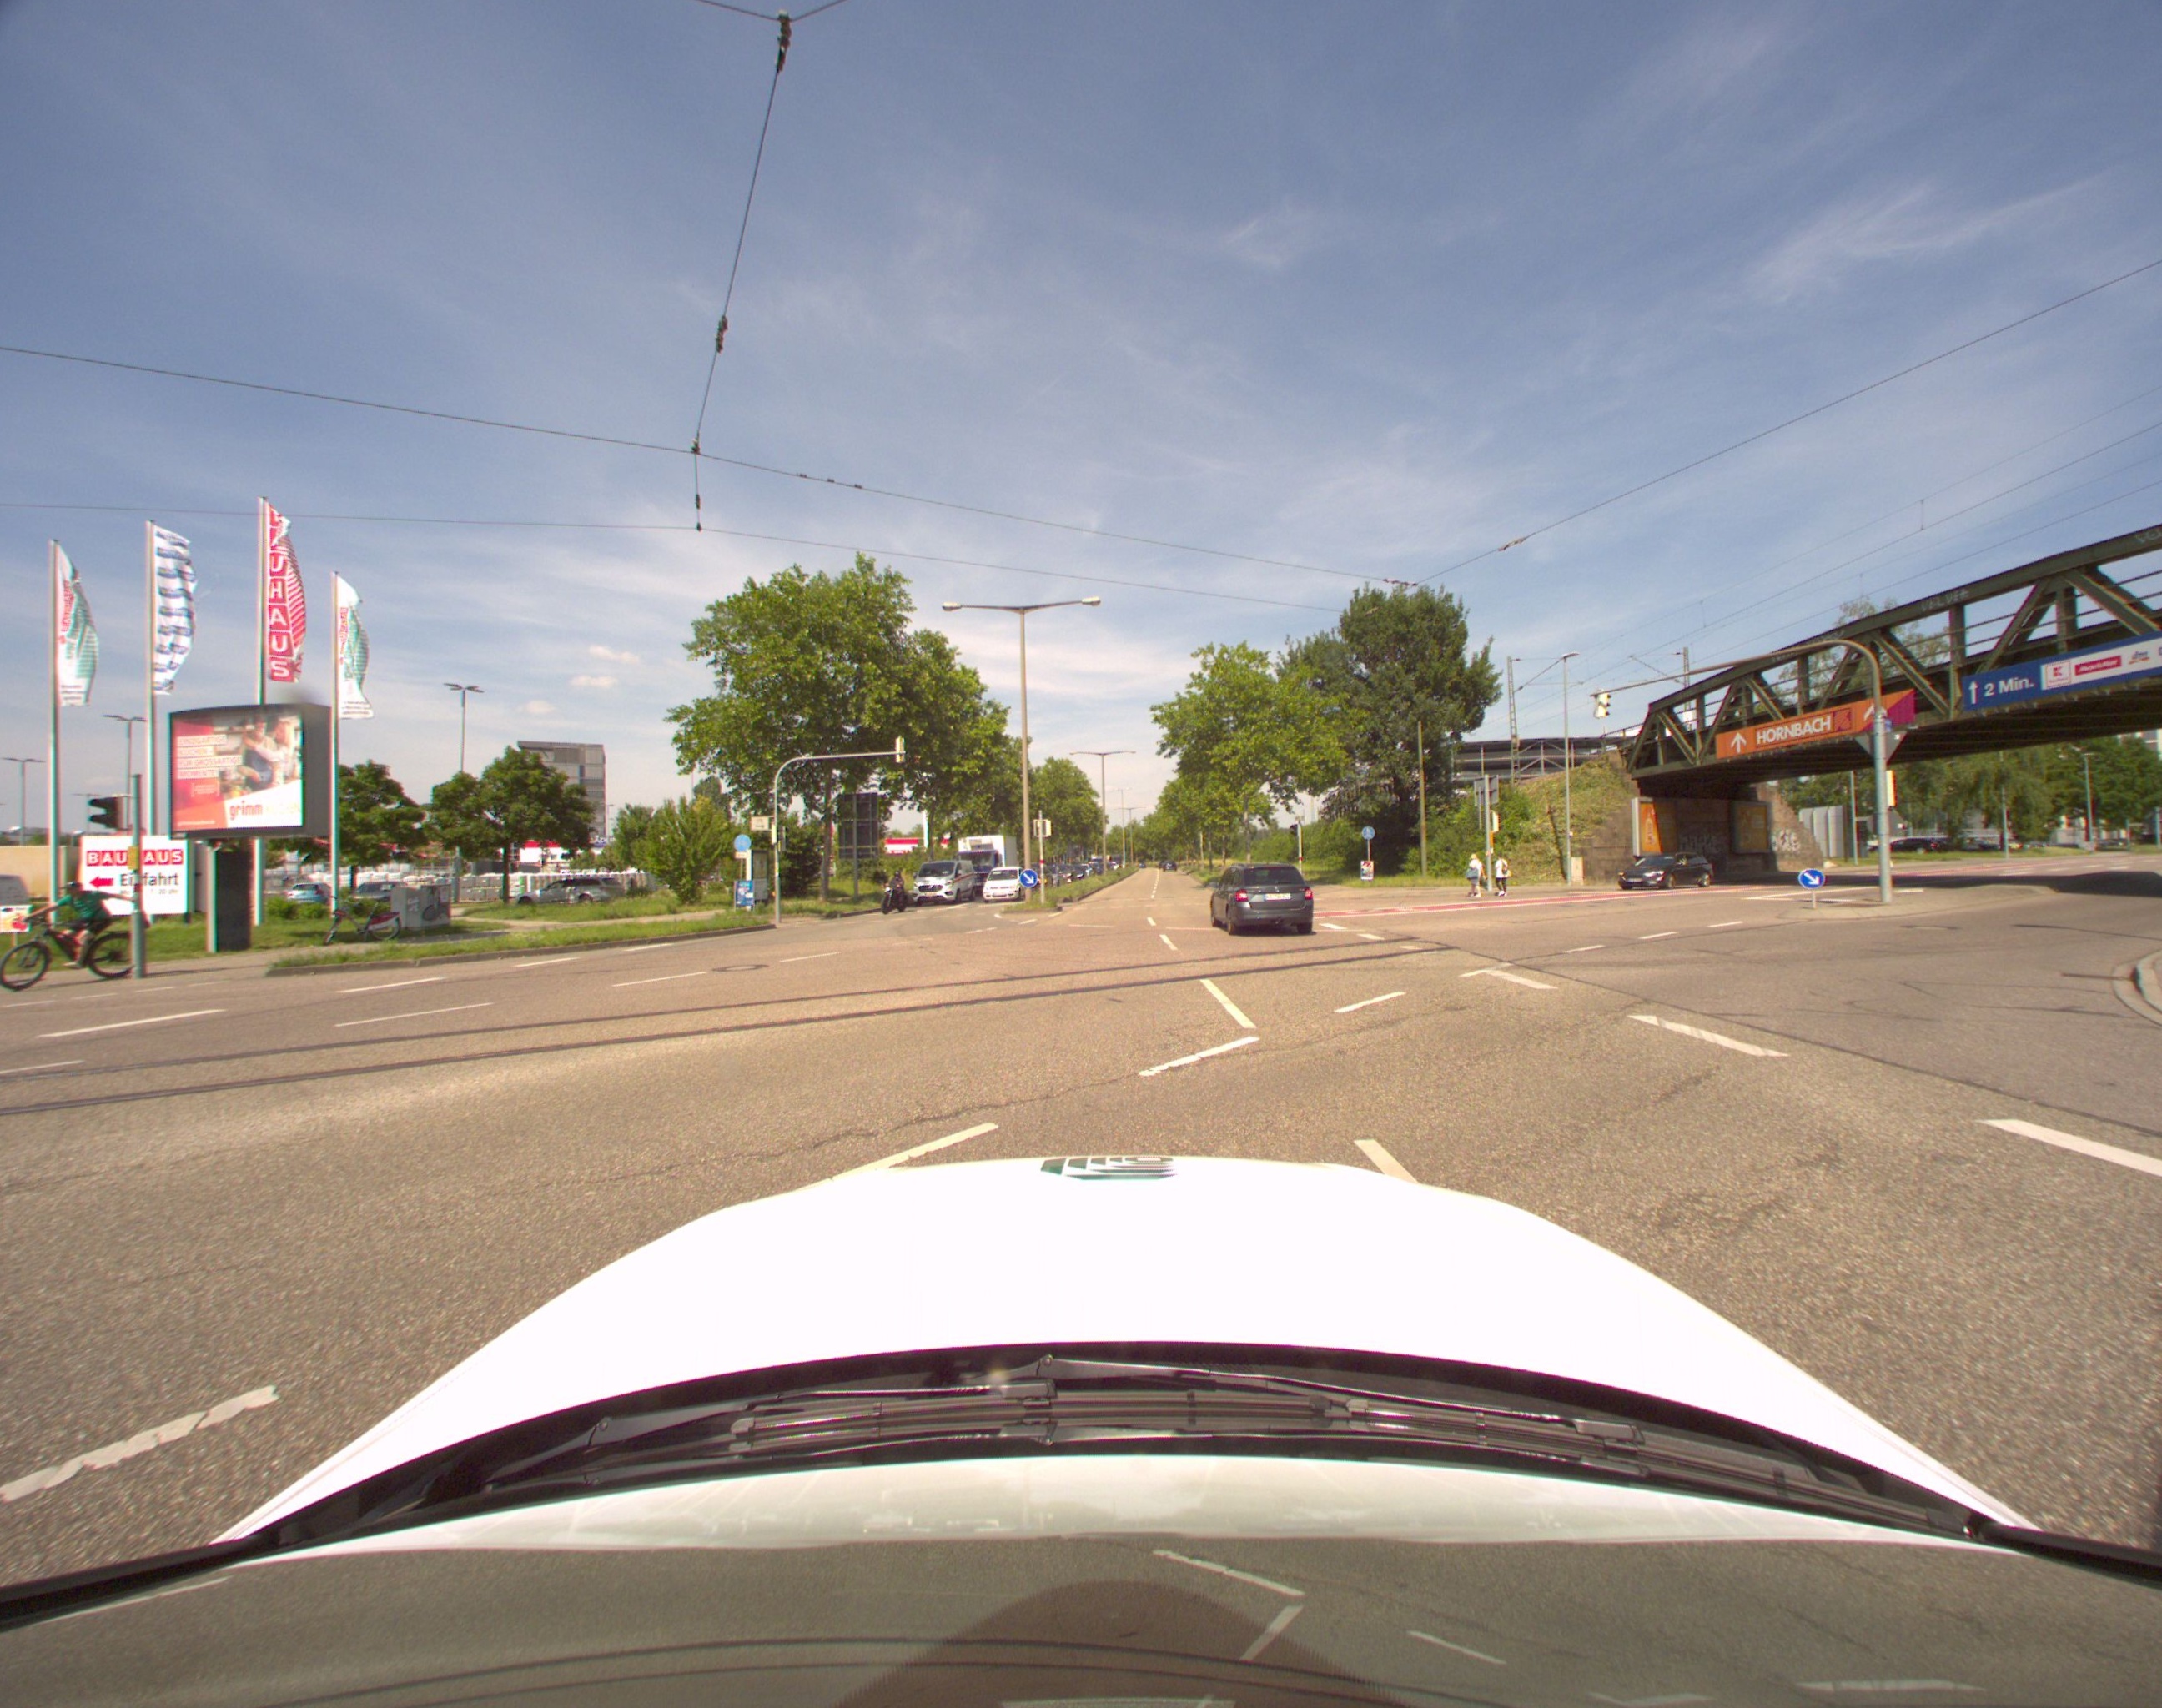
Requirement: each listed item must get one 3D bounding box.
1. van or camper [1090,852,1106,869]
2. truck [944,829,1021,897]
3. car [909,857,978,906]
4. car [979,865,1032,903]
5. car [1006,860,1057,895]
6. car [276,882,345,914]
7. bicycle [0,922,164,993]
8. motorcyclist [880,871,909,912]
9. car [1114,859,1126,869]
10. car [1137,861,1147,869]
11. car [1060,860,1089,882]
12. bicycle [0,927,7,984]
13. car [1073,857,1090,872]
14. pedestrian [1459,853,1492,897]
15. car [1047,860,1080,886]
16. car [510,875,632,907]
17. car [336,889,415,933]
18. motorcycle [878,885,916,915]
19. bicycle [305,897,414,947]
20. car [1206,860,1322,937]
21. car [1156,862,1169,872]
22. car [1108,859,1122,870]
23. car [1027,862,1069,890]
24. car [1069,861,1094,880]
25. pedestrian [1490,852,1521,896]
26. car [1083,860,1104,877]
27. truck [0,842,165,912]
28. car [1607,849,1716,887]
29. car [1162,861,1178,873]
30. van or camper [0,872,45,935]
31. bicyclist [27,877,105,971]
[{"bbox_3d":[2.690,1.029,129.532,2.005,2.587,5.525,-3,0,5],"label":"van or camper"},{"bbox_3d":[-5.522,0.473,46.899,2.790,3.471,6.701,-3,0,5],"label":"truck"},{"bbox_3d":[-6.155,1.173,36.983,1.968,1.999,5.036,-1,0,3],"label":"car"},{"bbox_3d":[-3.292,1.296,35.993,1.585,1.477,3.735,-3,0,5],"label":"car"},{"bbox_3d":[-2.471,1.180,41.833,1.811,1.647,4.701,-3,-1,5],"label":"car"},{"bbox_3d":[-42.736,2.420,45.283,1.827,1.572,4.238,-1,-1,-30],"label":"car"},{"bbox_3d":[-16.717,1.674,13.562,0.413,0.937,2.002,-1,-1,8],"label":"bicycle"},{"bbox_3d":[-6.914,1.382,30.251,0.739,1.470,0.989,-1,0,5],"label":"motorcyclist"},{"bbox_3d":[6.341,1.612,131.339,1.680,1.530,3.820,-3,-1,5],"label":"car"},{"bbox_3d":[13.315,2.419,178.544,1.900,1.463,4.585,-1,0,2],"label":"car"},{"bbox_3d":[-0.483,1.296,62.554,1.680,1.473,4.224,-3,0,5],"label":"car"},{"bbox_3d":[-18.132,1.670,12.638,0.431,0.937,1.756,-1,-1,11],"label":"bicycle"},{"bbox_3d":[0.100,1.327,102.144,1.680,1.858,4.042,-3,-1,5],"label":"car"},{"bbox_3d":[14.623,0.769,30.211,0.864,1.611,0.778,-1,0,5],"label":"pedestrian"},{"bbox_3d":[-1.143,1.242,55.268,1.680,1.586,4.246,-3,0,5],"label":"car"},{"bbox_3d":[-24.984,1.794,40.057,4.550,1.414,2.199,-1,-1,-2],"label":"car"},{"bbox_3d":[-29.327,2.312,34.004,2.211,1.572,4.525,-1,-1,-37],"label":"car"},{"bbox_3d":[-6.834,1.693,30.302,0.684,0.991,2.220,-1,0,6],"label":"motorcycle"},{"bbox_3d":[-17.314,1.615,19.597,0.589,1.037,1.905,-2,-1,20],"label":"bicycle"},{"bbox_3d":[3.798,0.859,17.526,1.668,1.453,4.037,0,0,1],"label":"car"},{"bbox_3d":[13.835,2.245,139.003,1.900,1.463,4.585,-1,0,2],"label":"car"},{"bbox_3d":[4.849,1.469,114.749,1.680,1.510,3.820,-3,0,5],"label":"car"},{"bbox_3d":[-1.901,1.258,48.629,1.788,1.468,4.530,-3,0,6],"label":"car"},{"bbox_3d":[0.087,1.350,68.171,1.680,1.472,3.820,-3,0,5],"label":"car"},{"bbox_3d":[15.730,0.728,30.192,0.726,1.579,0.778,-1,0,5],"label":"pedestrian"},{"bbox_3d":[1.246,1.415,80.832,1.776,1.489,4.216,-3,0,4],"label":"car"},{"bbox_3d":[-52.294,1.141,40.104,8.956,3.311,3.128,-1,0,-32],"label":"truck"},{"bbox_3d":[23.585,0.545,33.060,4.516,1.409,1.980,-1,0,-31],"label":"car"},{"bbox_3d":[11.601,1.662,106.295,1.899,1.463,4.627,-1,0,5],"label":"car"},{"bbox_3d":[-39.046,1.760,28.011,2.202,2.210,5.468,-1,-1,-28],"label":"van or camper"},{"bbox_3d":[-16.733,1.134,13.434,0.524,1.491,0.611,-1,-1,8],"label":"bicyclist"}]
